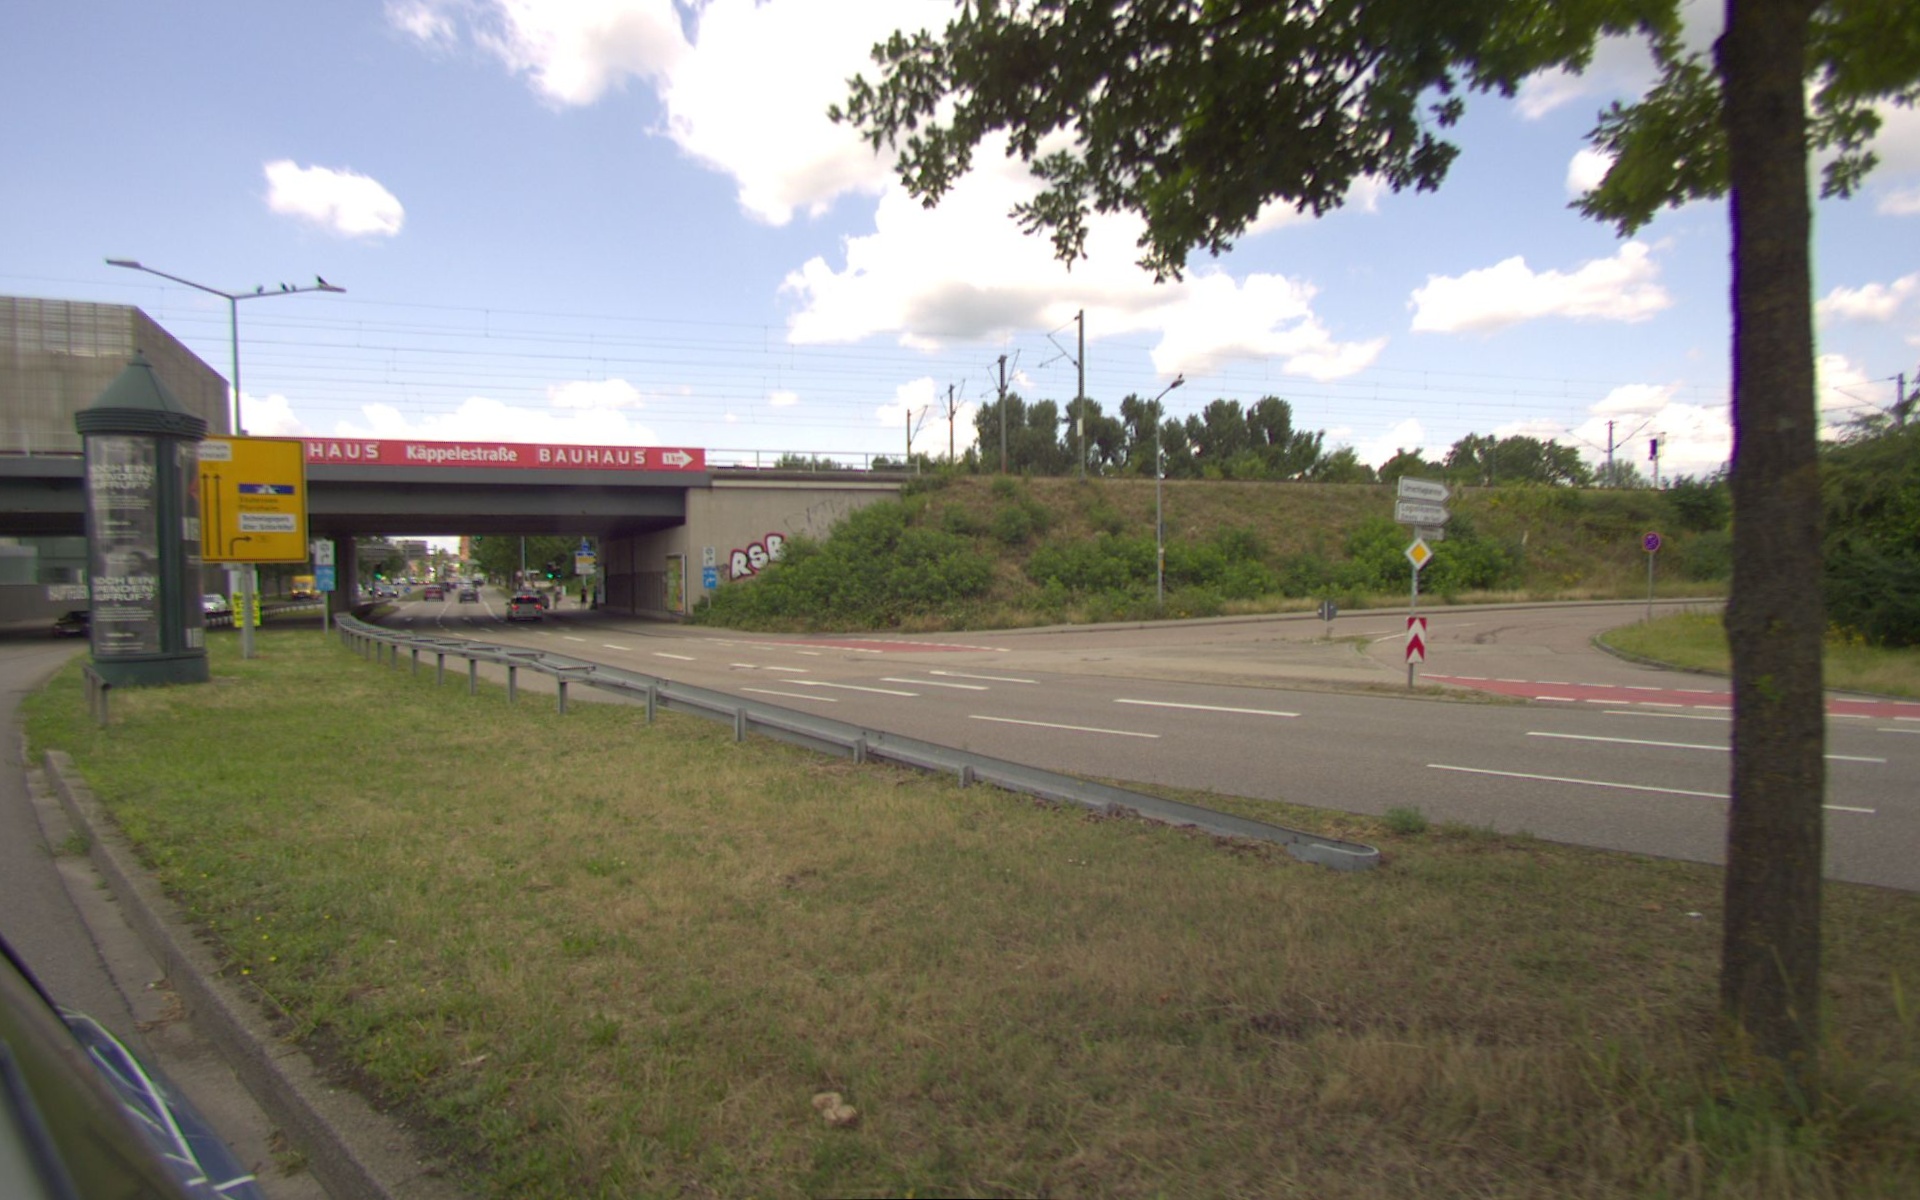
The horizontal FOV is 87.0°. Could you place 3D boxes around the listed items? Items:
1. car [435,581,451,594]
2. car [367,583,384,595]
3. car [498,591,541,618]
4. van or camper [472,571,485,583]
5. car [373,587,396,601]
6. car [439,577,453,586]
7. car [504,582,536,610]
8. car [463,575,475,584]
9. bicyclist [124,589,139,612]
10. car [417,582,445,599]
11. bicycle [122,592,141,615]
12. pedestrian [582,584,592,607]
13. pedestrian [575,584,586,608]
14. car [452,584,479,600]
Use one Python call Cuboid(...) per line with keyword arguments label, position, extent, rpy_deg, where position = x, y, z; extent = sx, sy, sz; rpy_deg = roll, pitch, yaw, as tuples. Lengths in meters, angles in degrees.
Cuboid(label="car", position=(-73.461, -1.753, 143.771), extent=(1.966, 1.772, 4.732), rpy_deg=(-2, 2, -28))
Cuboid(label="car", position=(-79.073, -1.513, 136.897), extent=(1.753, 1.507, 3.610), rpy_deg=(-1, 2, -26))
Cuboid(label="car", position=(-25.932, 0.248, 59.469), extent=(1.728, 1.522, 4.012), rpy_deg=(-2, 1, -32))
Cuboid(label="van or camper", position=(-108.727, -5.148, 228.601), extent=(2.319, 2.558, 7.087), rpy_deg=(-3, 3, -27))
Cuboid(label="car", position=(-65.034, -0.668, 114.408), extent=(1.966, 1.425, 4.848), rpy_deg=(-3, 3, -26))
Cuboid(label="car", position=(-89.571, -3.207, 176.396), extent=(1.946, 1.399, 4.797), rpy_deg=(-1, 2, -26))
Cuboid(label="car", position=(-34.262, -0.327, 78.735), extent=(1.966, 2.028, 4.351), rpy_deg=(-2, 2, -27))
Cuboid(label="car", position=(-89.419, -3.733, 184.264), extent=(1.898, 1.541, 4.013), rpy_deg=(-2, 0, -25))
Cuboid(label="bicyclist", position=(-67.390, 0.045, 82.300), extent=(0.705, 1.782, 0.992), rpy_deg=(-2, 2, -30))
Cuboid(label="car", position=(-54.793, -1.016, 104.834), extent=(1.965, 1.687, 4.337), rpy_deg=(-1, 2, -20))
Cuboid(label="bicycle", position=(-67.435, 0.268, 82.378), extent=(0.709, 1.787, 2.542), rpy_deg=(-2, 2, -29))
Cuboid(label="pedestrian", position=(-26.341, -0.333, 71.458), extent=(0.546, 1.637, 0.588), rpy_deg=(-2, 2, -25))
Cuboid(label="pedestrian", position=(-27.022, -0.310, 72.029), extent=(0.582, 1.693, 0.558), rpy_deg=(-2, 2, -28))
Cuboid(label="car", position=(-47.648, -0.793, 97.646), extent=(1.920, 1.384, 4.014), rpy_deg=(-3, 3, -21))
